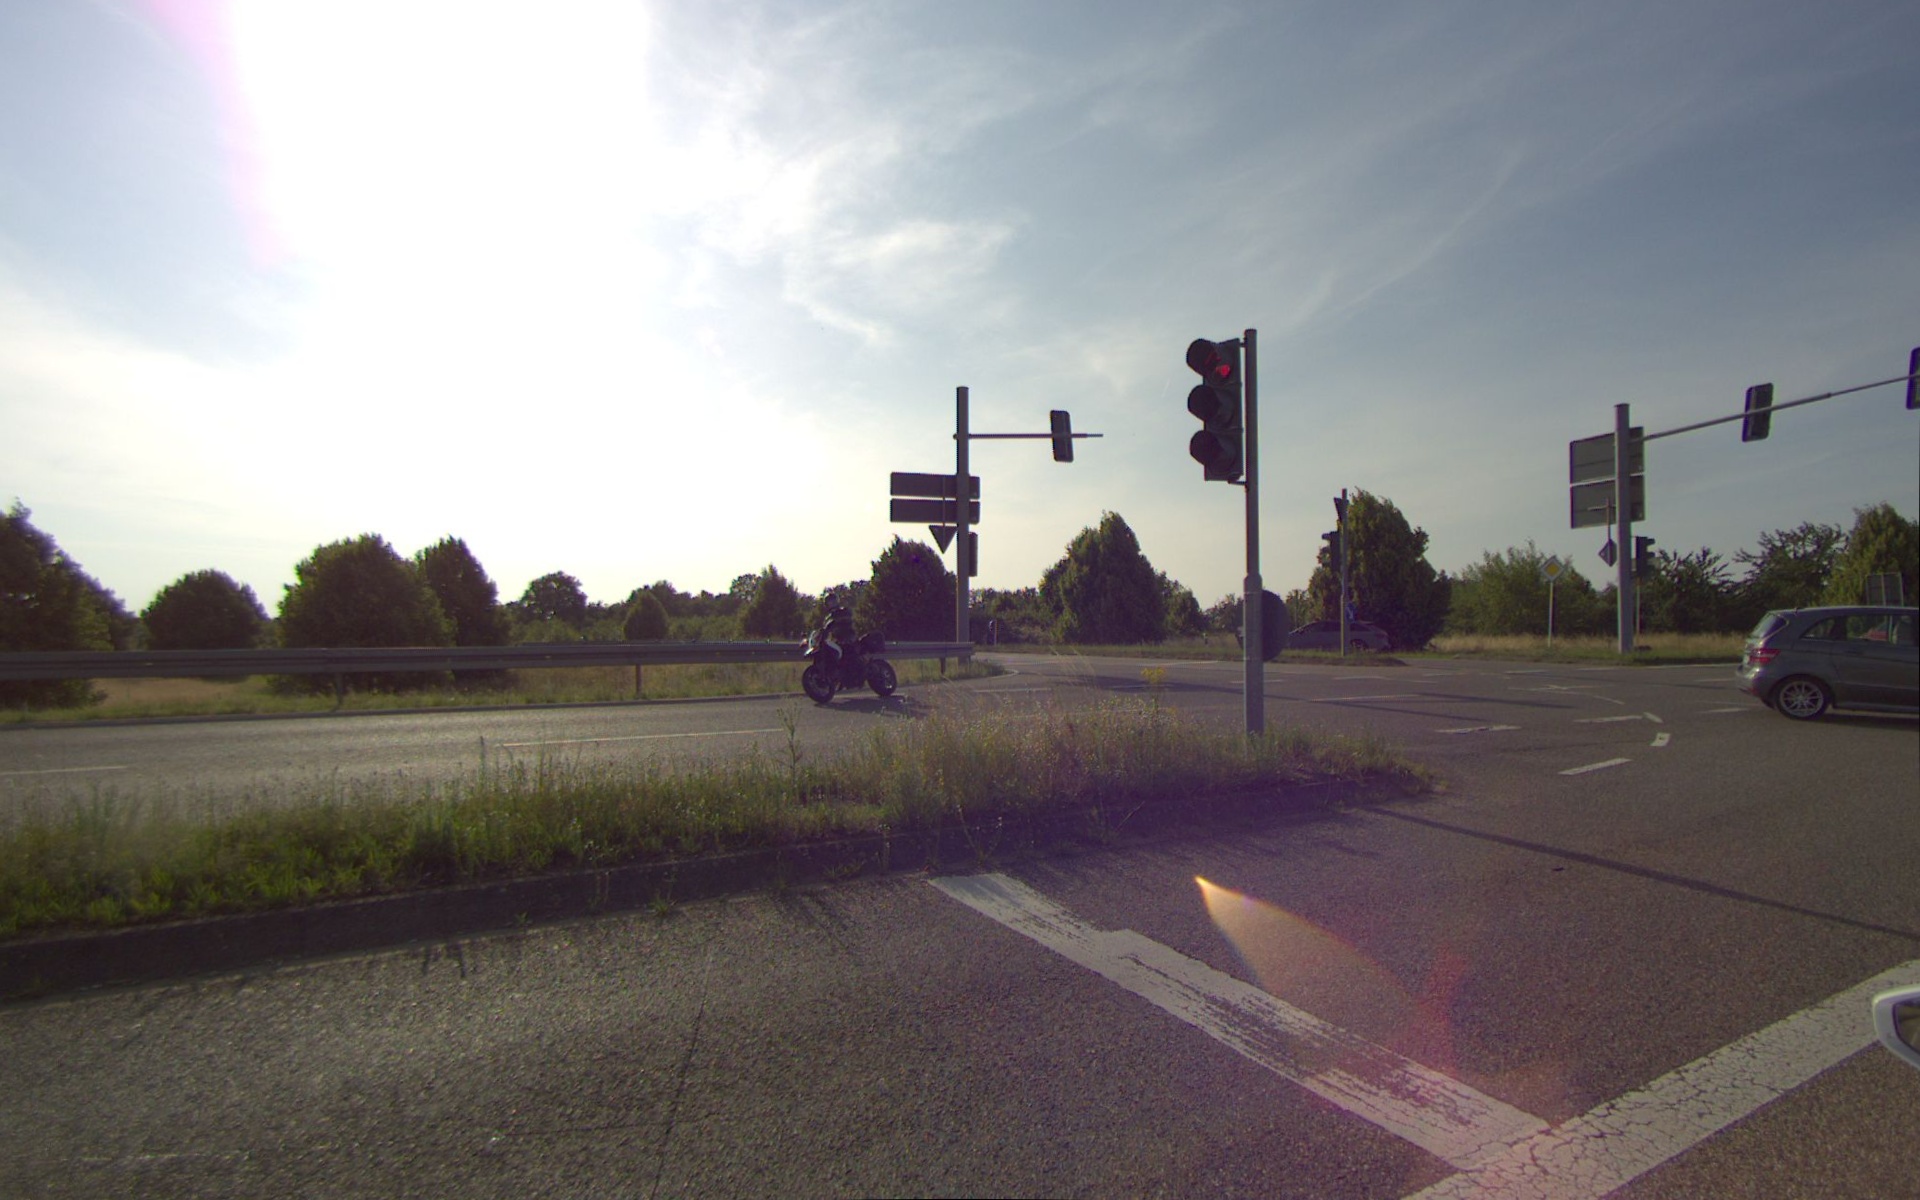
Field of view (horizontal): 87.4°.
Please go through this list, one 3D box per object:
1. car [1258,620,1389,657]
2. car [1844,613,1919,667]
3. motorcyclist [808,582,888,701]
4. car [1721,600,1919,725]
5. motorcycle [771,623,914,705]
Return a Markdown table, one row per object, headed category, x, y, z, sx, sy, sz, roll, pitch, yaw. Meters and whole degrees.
| category | x | y | z | sx | sy | sz | roll | pitch | yaw |
| --- | --- | --- | --- | --- | --- | --- | --- | --- | --- |
| car | 13.841 | 1.437 | 38.334 | 4.585 | 1.309 | 1.440 | 0 | -1 | 26 |
| car | 28.454 | 1.176 | 29.999 | 3.752 | 1.508 | 1.716 | 1 | -1 | -25 |
| motorcyclist | -1.728 | 0.617 | 15.547 | 0.893 | 1.781 | 0.828 | 1 | 0 | 40 |
| car | 13.326 | 0.877 | 14.039 | 4.124 | 1.626 | 1.786 | 1 | -1 | 33 |
| motorcycle | -1.775 | 0.944 | 15.522 | 0.926 | 1.139 | 2.161 | 1 | 0 | 39 |
